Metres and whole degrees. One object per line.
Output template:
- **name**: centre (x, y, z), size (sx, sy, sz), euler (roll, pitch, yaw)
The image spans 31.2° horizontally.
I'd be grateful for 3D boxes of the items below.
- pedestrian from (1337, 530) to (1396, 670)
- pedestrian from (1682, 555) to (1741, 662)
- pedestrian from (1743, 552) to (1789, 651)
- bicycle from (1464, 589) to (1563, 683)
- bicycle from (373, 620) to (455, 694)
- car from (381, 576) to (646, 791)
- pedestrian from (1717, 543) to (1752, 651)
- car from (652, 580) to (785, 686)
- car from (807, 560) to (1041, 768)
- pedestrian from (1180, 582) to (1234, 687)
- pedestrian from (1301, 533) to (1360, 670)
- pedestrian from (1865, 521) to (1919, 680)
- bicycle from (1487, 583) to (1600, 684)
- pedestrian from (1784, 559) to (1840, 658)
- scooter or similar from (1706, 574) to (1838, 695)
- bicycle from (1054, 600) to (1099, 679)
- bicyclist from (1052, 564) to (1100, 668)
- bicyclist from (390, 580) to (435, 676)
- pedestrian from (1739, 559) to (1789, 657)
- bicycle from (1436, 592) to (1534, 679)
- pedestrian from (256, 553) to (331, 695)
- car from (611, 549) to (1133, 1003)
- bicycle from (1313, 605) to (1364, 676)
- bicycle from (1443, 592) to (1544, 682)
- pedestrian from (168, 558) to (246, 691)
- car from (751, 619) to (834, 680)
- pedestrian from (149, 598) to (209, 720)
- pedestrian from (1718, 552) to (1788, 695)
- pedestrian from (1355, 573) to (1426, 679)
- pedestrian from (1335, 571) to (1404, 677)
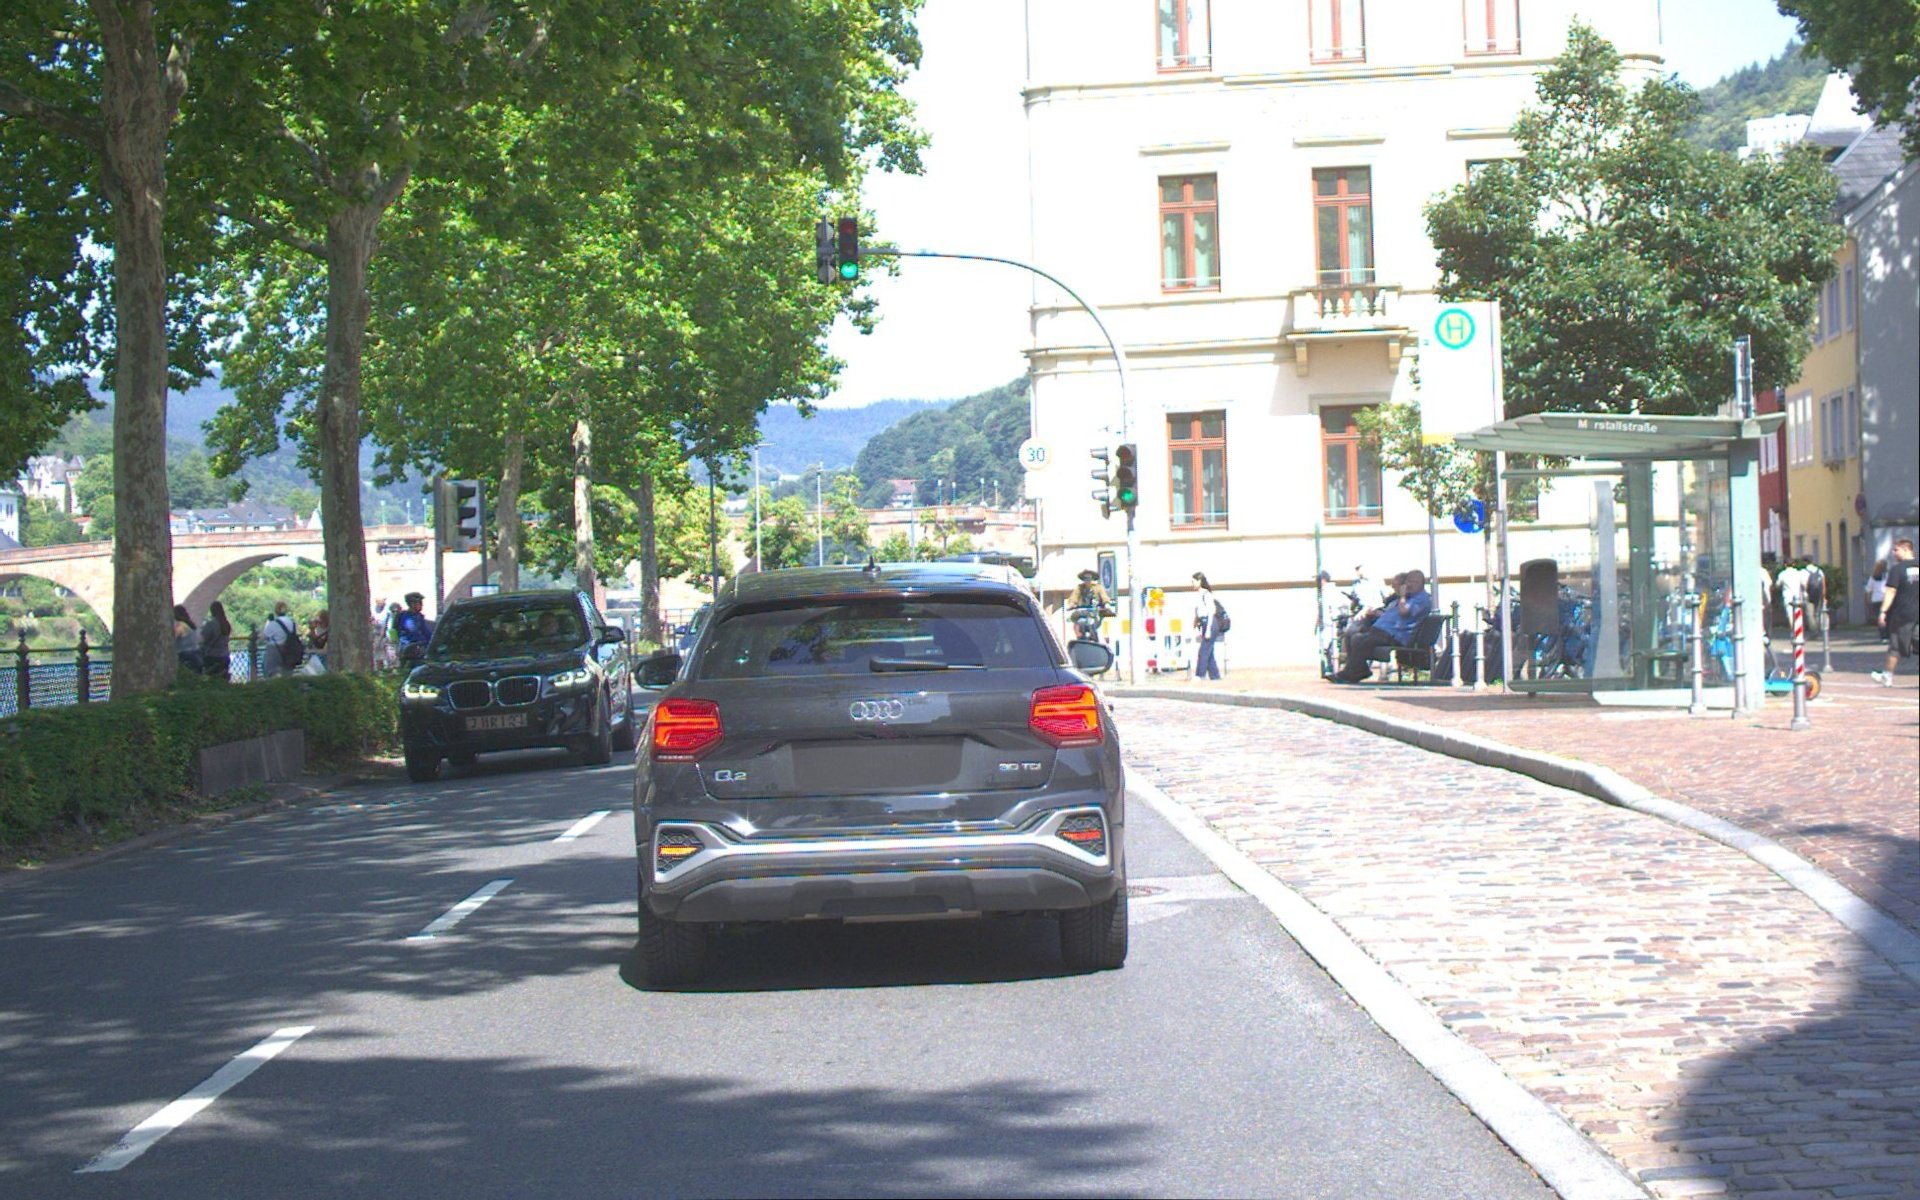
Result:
- **pedestrian**: centre (5.891, 0.004, 49.836), size (0.640, 2.007, 0.664), euler (0, -1, 29)
- **pedestrian**: centre (14.292, 0.166, 65.379), size (0.944, 2.007, 0.807), euler (0, -1, 0)
- **pedestrian**: centre (12.561, 0.027, 53.604), size (0.622, 1.527, 0.466), euler (0, -1, 3)
- **bicycle**: centre (6.292, 0.412, 39.051), size (1.157, 1.066, 0.179), euler (1, -1, -18)
- **bicycle**: centre (-7.484, 0.783, 47.098), size (1.093, 1.003, 0.304), euler (0, -1, -7)
- **car**: centre (-4.198, 0.734, 32.955), size (1.813, 1.719, 4.422), euler (-7, 0, 0)
- **pedestrian**: centre (12.082, -0.039, 53.622), size (0.449, 1.675, 0.466), euler (0, -1, 3)
- **car**: centre (-4.229, 0.577, 60.683), size (1.993, 1.800, 4.000), euler (0, -1, 1)
- **car**: centre (-0.291, 0.488, 28.170), size (1.793, 1.589, 3.399), euler (0, 0, -1)
- **pedestrian**: centre (3.540, 0.500, 49.272), size (0.693, 1.495, 0.514), euler (0, -1, -4)
- **pedestrian**: centre (5.452, 0.023, 50.558), size (0.640, 2.007, 0.664), euler (0, -1, 29)
- **pedestrian**: centre (10.826, 0.003, 39.410), size (0.652, 1.796, 0.847), euler (-1, 0, -1)
- **bicycle**: centre (6.510, 0.377, 38.357), size (1.303, 1.124, 0.179), euler (0, -1, -18)
- **pedestrian**: centre (17.502, 0.179, 70.657), size (0.940, 2.007, 0.807), euler (0, -1, 0)
- **scooter or similar**: centre (7.173, 0.306, 30.389), size (1.088, 1.062, 0.323), euler (0, -1, -2)
- **bicycle**: centre (1.640, 0.551, 48.386), size (0.437, 1.082, 1.677), euler (0, -1, -5)
- **bicyclist**: centre (1.637, 0.225, 48.423), size (0.605, 1.445, 0.591), euler (0, -1, -5)
- **bicyclist**: centre (-7.507, 0.382, 47.134), size (0.566, 1.307, 0.552), euler (0, -1, -5)
- **pedestrian**: centre (16.517, 0.164, 70.637), size (0.839, 2.007, 0.738), euler (0, -1, 0)
- **bicycle**: centre (6.195, 0.420, 40.552), size (1.184, 1.012, 0.179), euler (0, -1, -18)
- **pedestrian**: centre (-9.523, 0.339, 49.140), size (0.911, 2.007, 0.585), euler (0, -1, 4)
- **car**: centre (-0.317, 0.587, 13.555), size (1.743, 1.504, 3.647), euler (-2, 0, -1)
- **bicycle**: centre (5.158, 0.551, 46.890), size (0.298, 0.960, 1.188), euler (0, -1, -13)
- **bicycle**: centre (6.183, 0.433, 39.834), size (1.201, 1.032, 0.179), euler (0, -1, -18)
- **pedestrian**: centre (-10.292, 0.335, 47.008), size (0.911, 1.805, 0.585), euler (0, -1, 4)
- **car**: centre (-4.546, 1.329, 93.769), size (1.993, 1.620, 4.000), euler (0, -1, 1)
- **pedestrian**: centre (-10.429, 0.783, 45.901), size (0.625, 1.613, 0.585), euler (0, -1, 4)
- **pedestrian**: centre (7.730, 0.227, 33.533), size (0.557, 1.380, 0.588), euler (0, -1, 2)
- **pedestrian**: centre (4.928, 0.298, 39.387), size (0.663, 1.207, 0.641), euler (0, -1, -6)
- **pedestrian**: centre (4.784, 0.279, 40.160), size (0.663, 1.227, 0.641), euler (0, -1, -6)
